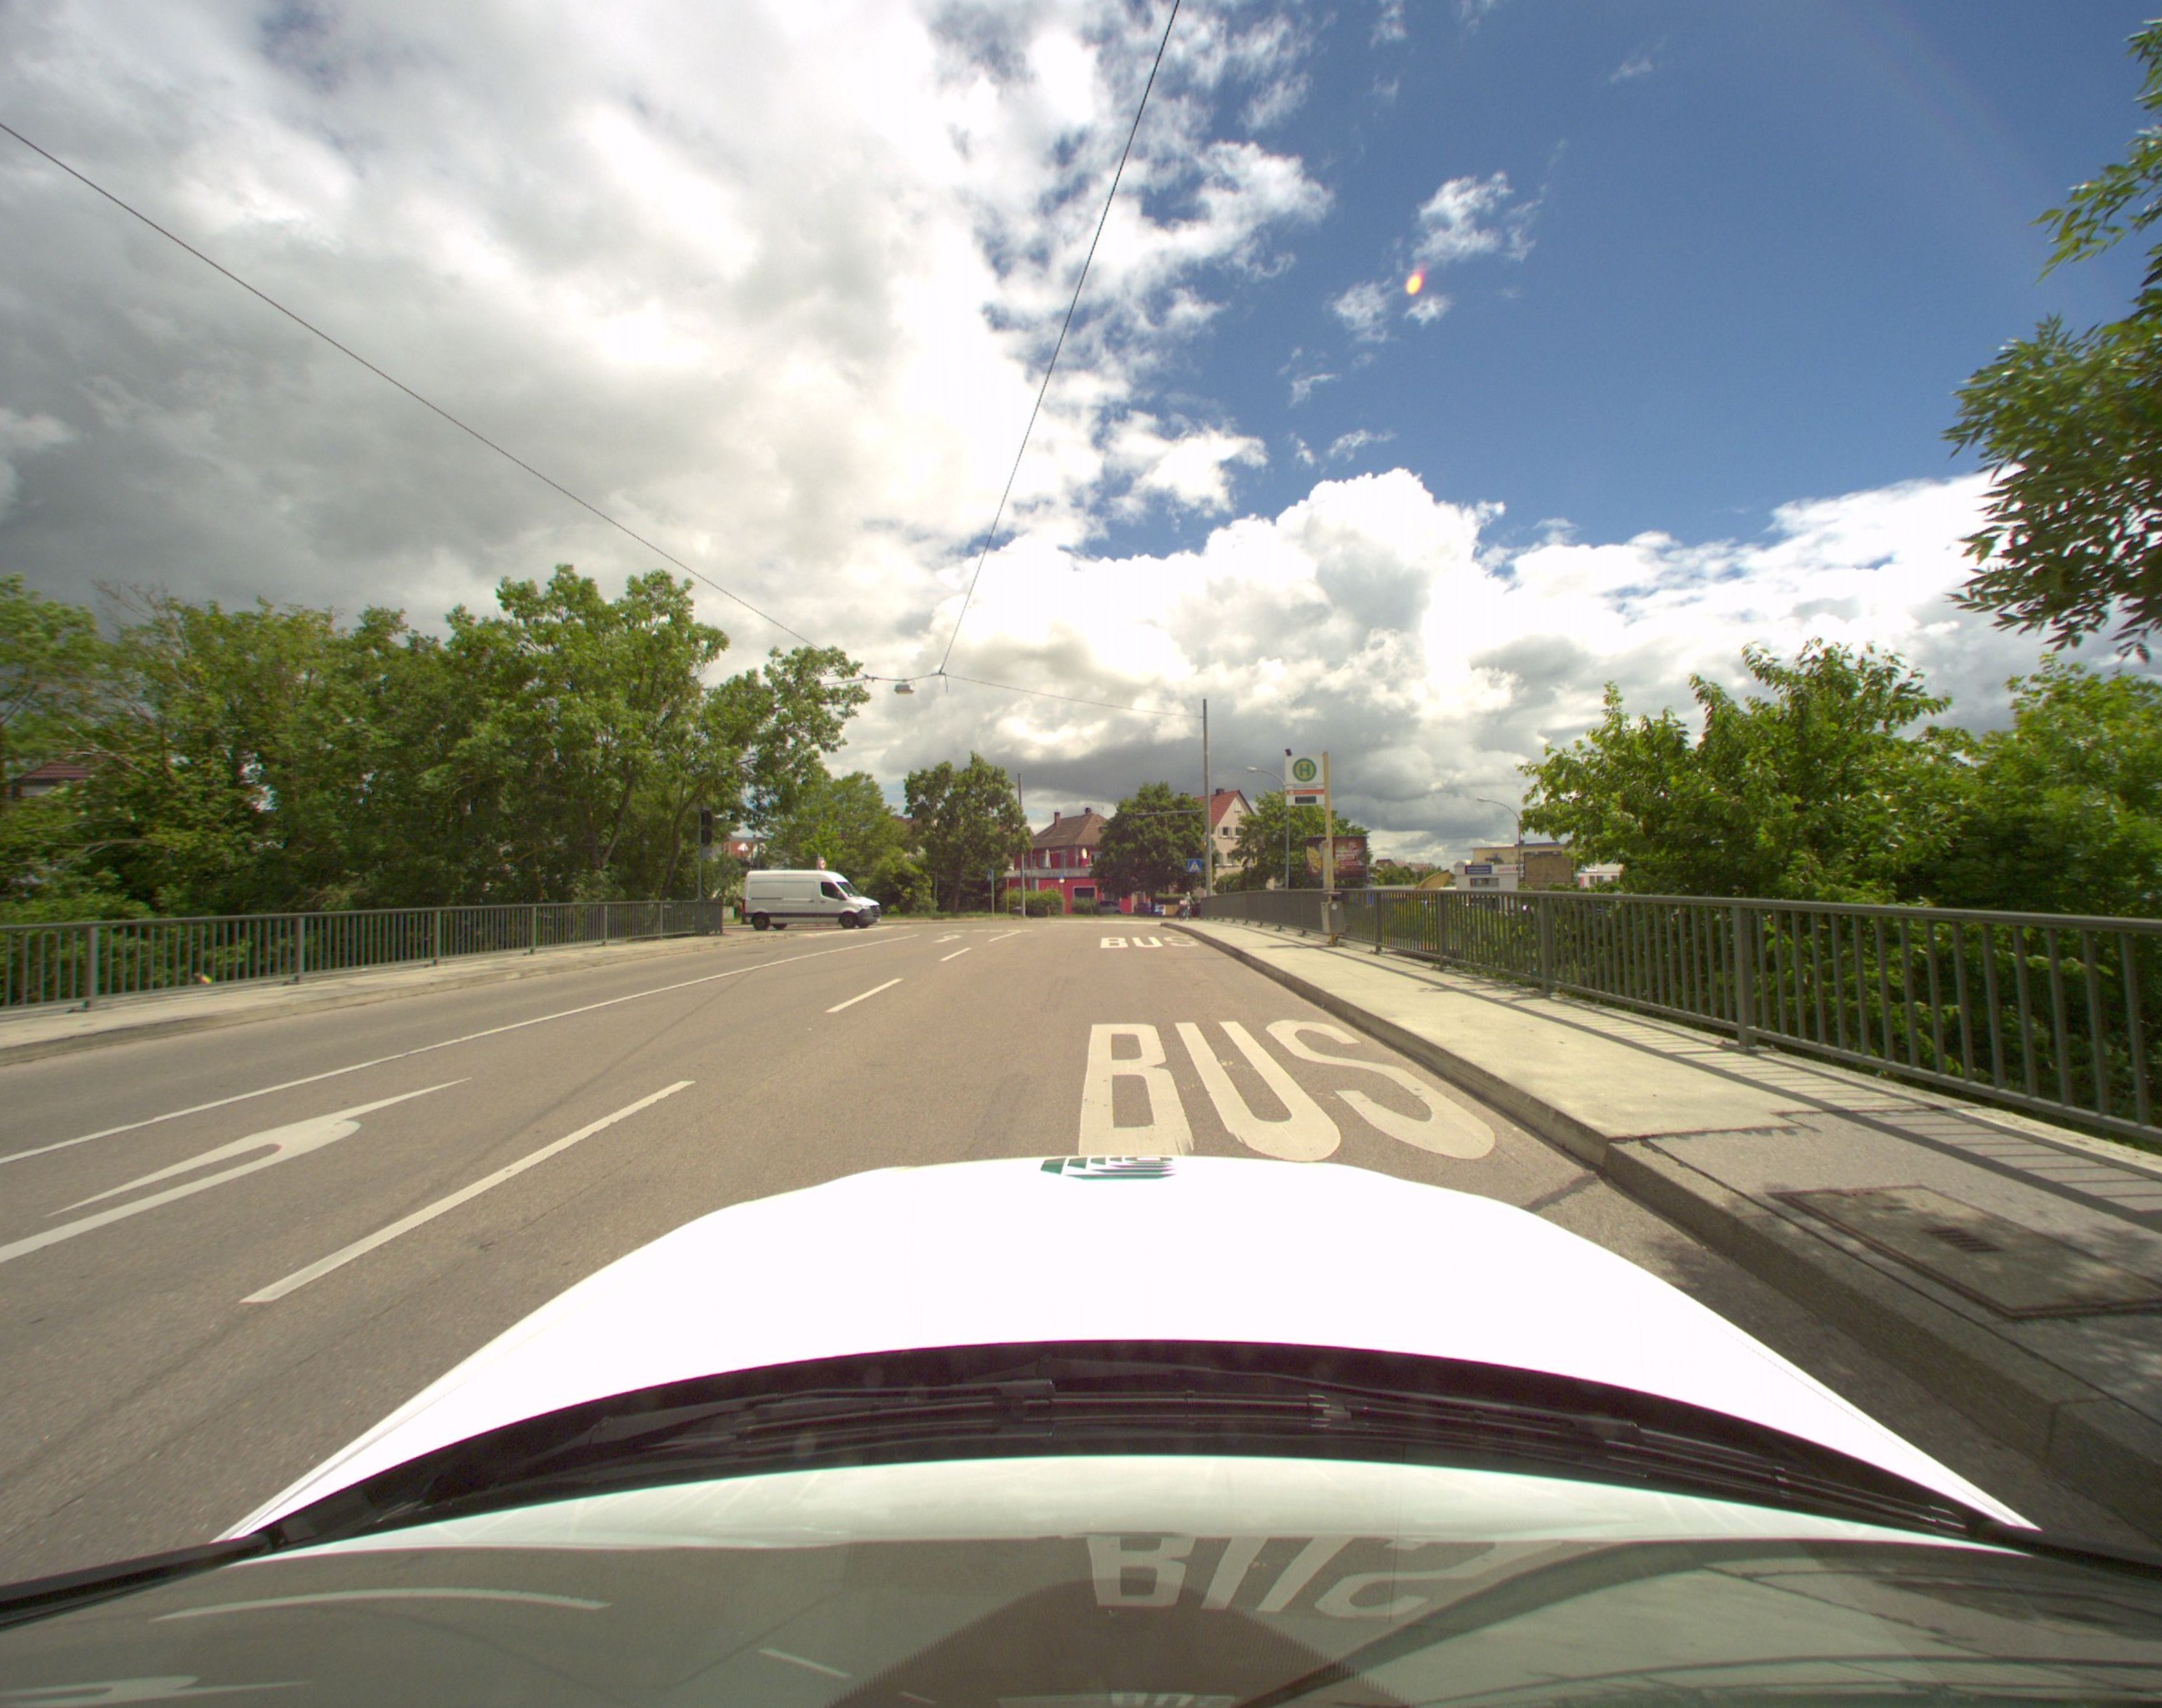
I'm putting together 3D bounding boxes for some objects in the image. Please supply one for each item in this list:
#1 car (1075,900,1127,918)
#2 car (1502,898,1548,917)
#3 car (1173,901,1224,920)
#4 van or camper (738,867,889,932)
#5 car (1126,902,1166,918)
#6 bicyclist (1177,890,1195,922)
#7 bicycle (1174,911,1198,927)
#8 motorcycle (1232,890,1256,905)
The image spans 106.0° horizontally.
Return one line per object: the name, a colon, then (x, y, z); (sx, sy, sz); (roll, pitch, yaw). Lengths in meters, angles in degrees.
car: (1.700, 4.541, 67.714); (4.091, 1.426, 1.629); (3, -4, -31)
car: (37.164, 4.474, 68.112); (3.971, 1.480, 1.693); (3, -4, -32)
car: (9.510, 4.596, 66.214); (2.006, 1.394, 4.103); (3, -3, -30)
van or camper: (-11.721, 2.036, 35.894); (5.883, 2.568, 2.195); (-2, -5, 3)
car: (5.907, 5.112, 74.035); (1.848, 1.378, 3.776); (2, -5, -30)
bicyclist: (6.014, 3.002, 46.781); (0.678, 1.827, 1.086); (-3, -7, 28)
bicycle: (6.047, 3.727, 46.776); (0.681, 0.879, 2.113); (-3, -7, 27)
motorcycle: (15.856, 4.233, 79.347); (2.243, 1.316, 0.911); (4, -4, -32)
